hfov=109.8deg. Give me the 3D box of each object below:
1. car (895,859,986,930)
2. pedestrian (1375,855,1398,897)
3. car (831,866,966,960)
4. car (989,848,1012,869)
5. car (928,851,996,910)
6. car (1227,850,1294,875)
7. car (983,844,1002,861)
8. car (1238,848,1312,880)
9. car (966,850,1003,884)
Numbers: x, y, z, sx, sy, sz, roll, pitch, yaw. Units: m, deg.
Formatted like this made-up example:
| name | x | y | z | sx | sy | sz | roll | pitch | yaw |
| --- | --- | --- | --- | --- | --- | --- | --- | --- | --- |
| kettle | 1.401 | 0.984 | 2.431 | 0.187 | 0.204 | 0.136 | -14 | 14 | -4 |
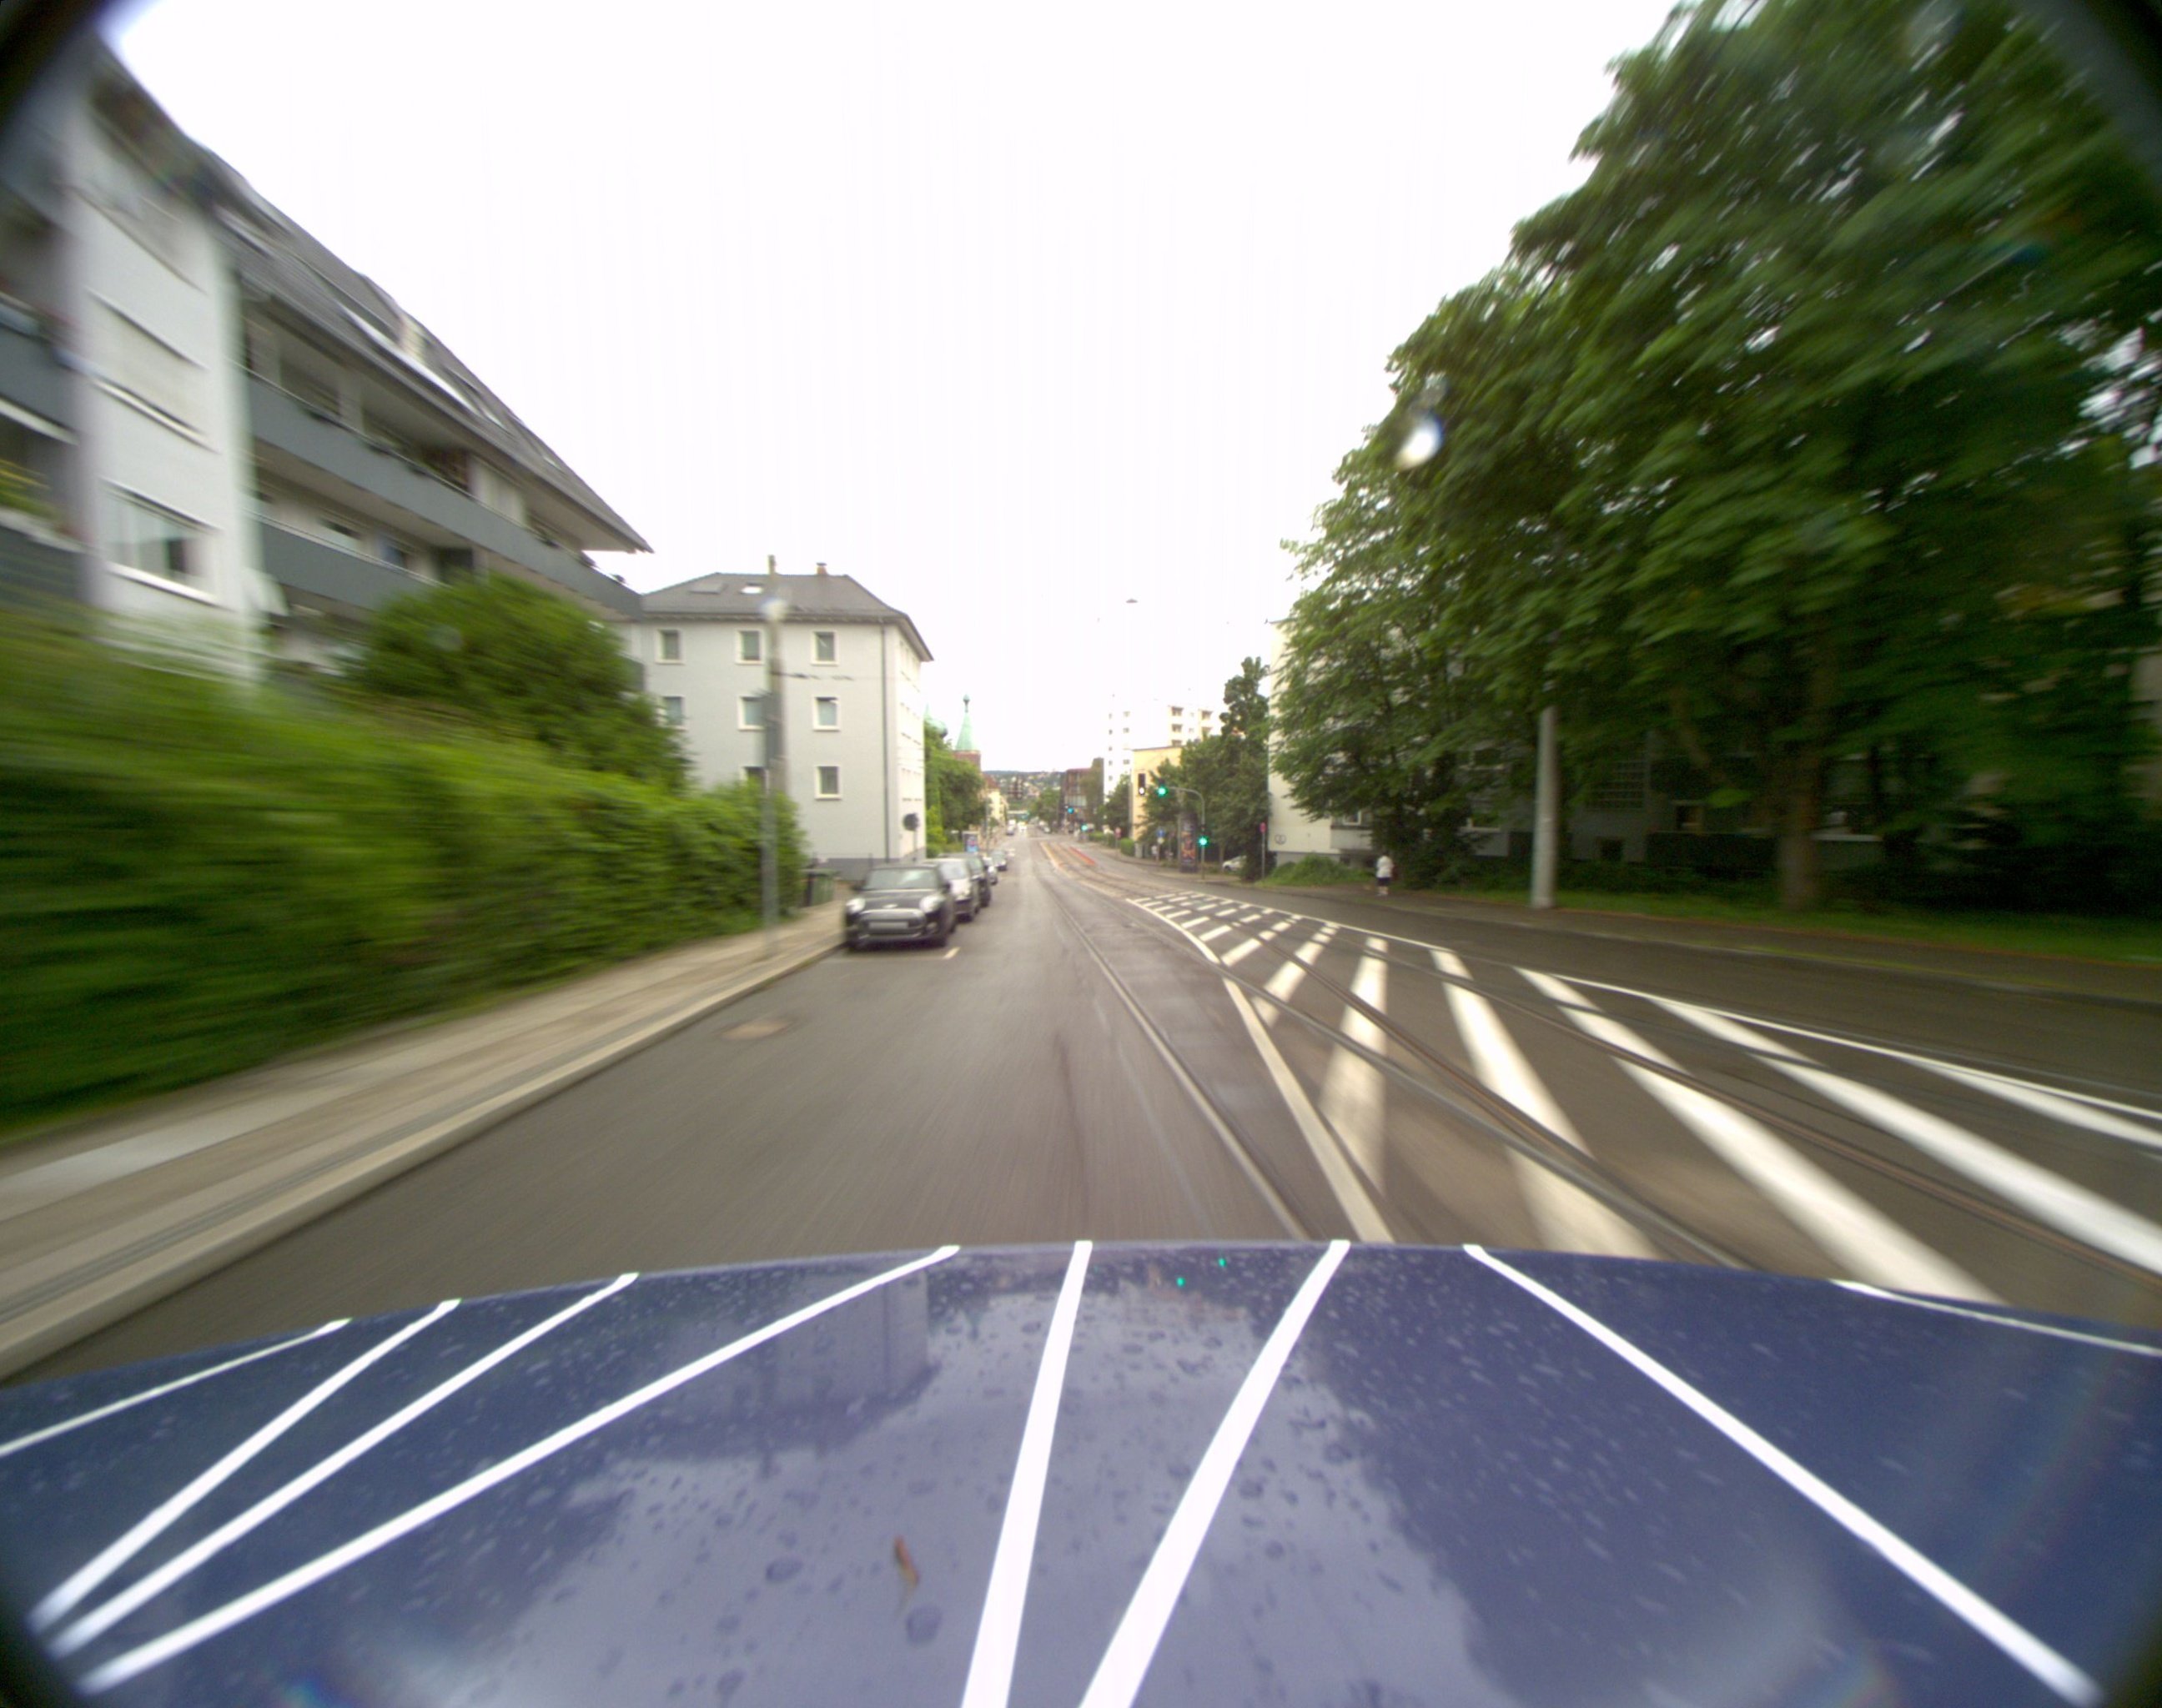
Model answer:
| name | x | y | z | sx | sy | sz | roll | pitch | yaw |
| --- | --- | --- | --- | --- | --- | --- | --- | --- | --- |
| car | -3.401 | 0.926 | 19.058 | 1.726 | 1.479 | 3.998 | -1 | 1 | -4 |
| pedestrian | 10.611 | 0.758 | 26.369 | 0.529 | 1.418 | 0.528 | -2 | 1 | -3 |
| car | -3.177 | 0.956 | 13.990 | 1.726 | 1.350 | 3.998 | -1 | 1 | -4 |
| car | -6.878 | 0.357 | 65.260 | 1.726 | 1.673 | 3.998 | -1 | 1 | -4 |
| car | -3.727 | 0.783 | 24.380 | 1.726 | 1.673 | 3.998 | -1 | 1 | -4 |
| car | 11.572 | 0.539 | 49.066 | 3.995 | 1.379 | 1.785 | -2 | 1 | 7 |
| car | -9.189 | -0.187 | 79.300 | 1.726 | 1.673 | 3.998 | -1 | 1 | -4 |
| car | 11.541 | 0.581 | 45.415 | 3.995 | 1.740 | 2.001 | -2 | 1 | 7 |
| car | -5.143 | 0.666 | 40.889 | 1.726 | 1.673 | 3.998 | -1 | 1 | -4 |
